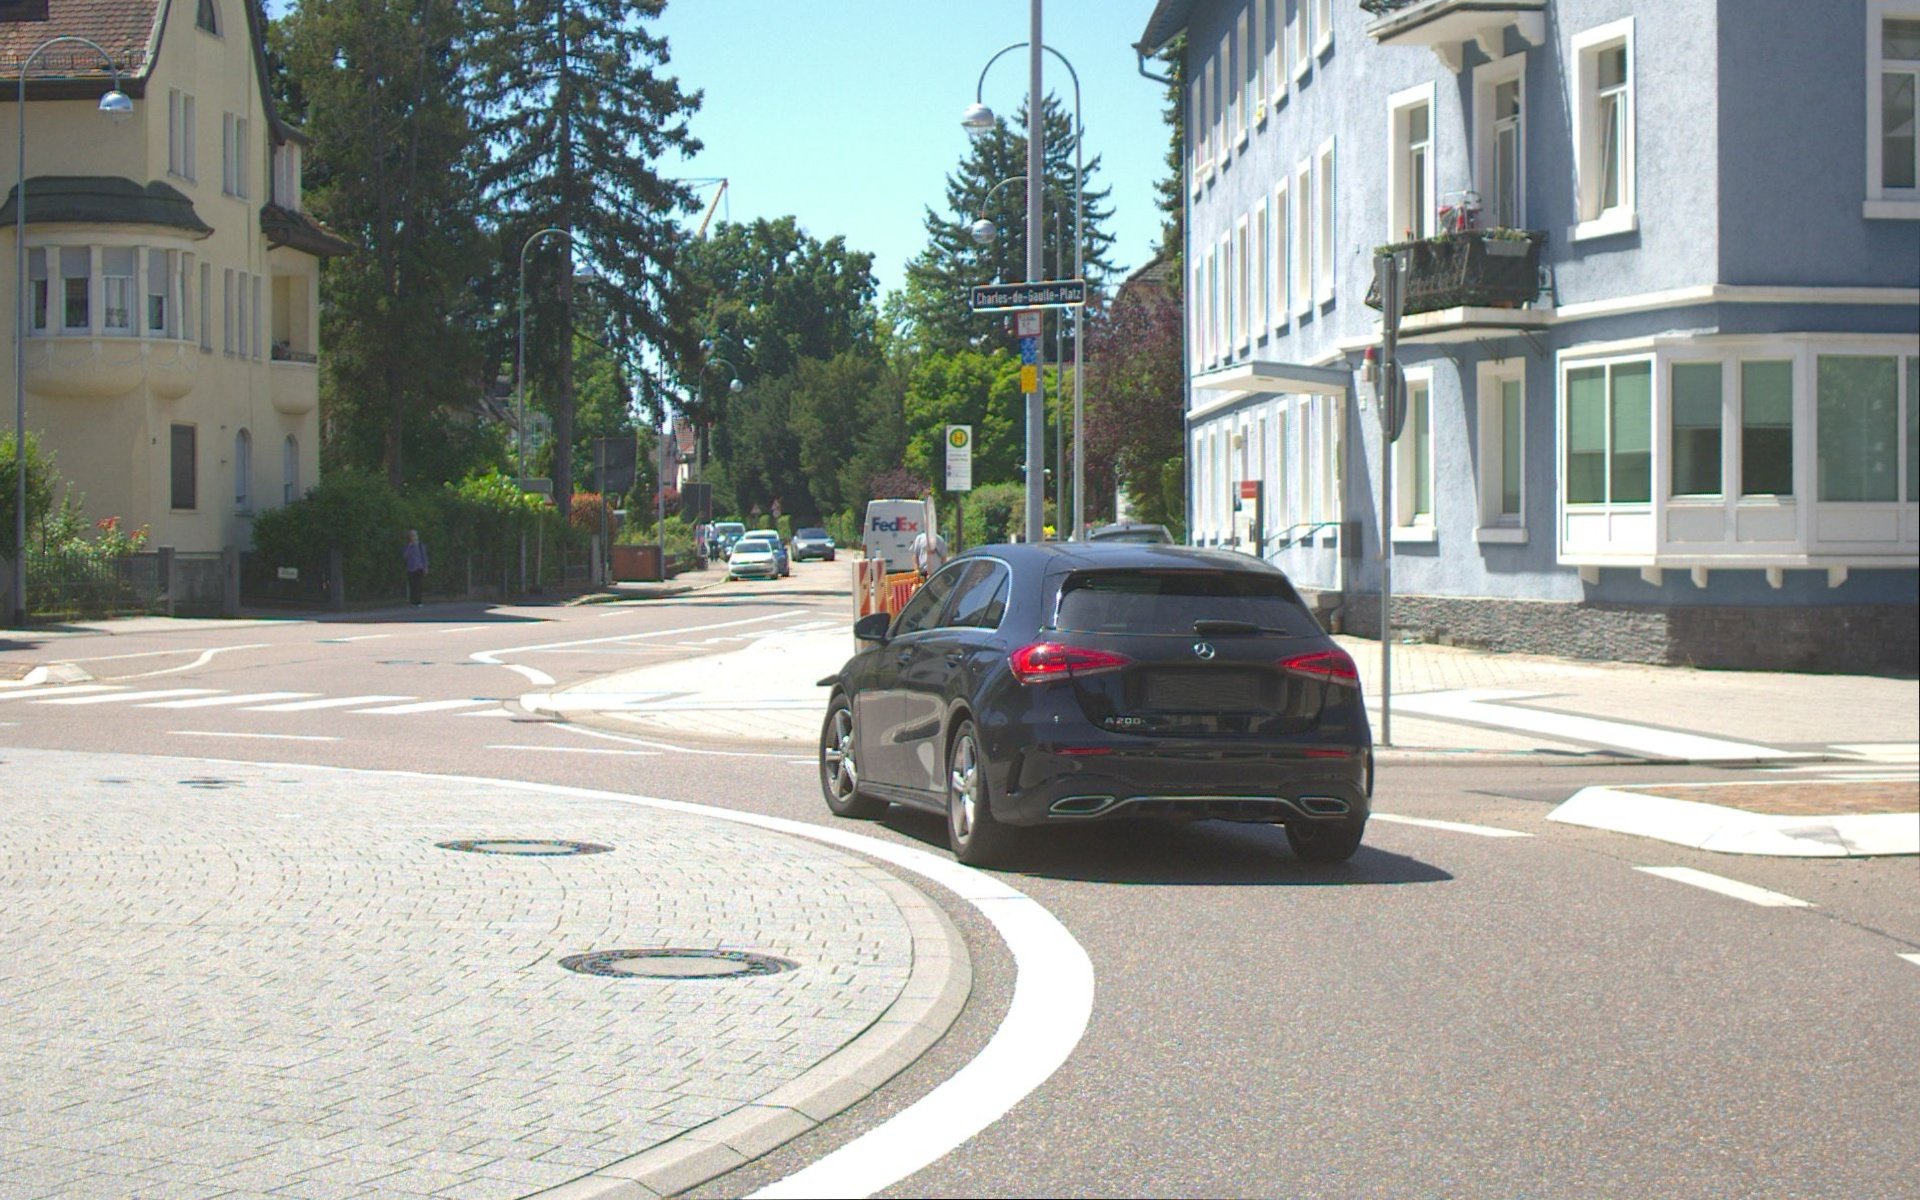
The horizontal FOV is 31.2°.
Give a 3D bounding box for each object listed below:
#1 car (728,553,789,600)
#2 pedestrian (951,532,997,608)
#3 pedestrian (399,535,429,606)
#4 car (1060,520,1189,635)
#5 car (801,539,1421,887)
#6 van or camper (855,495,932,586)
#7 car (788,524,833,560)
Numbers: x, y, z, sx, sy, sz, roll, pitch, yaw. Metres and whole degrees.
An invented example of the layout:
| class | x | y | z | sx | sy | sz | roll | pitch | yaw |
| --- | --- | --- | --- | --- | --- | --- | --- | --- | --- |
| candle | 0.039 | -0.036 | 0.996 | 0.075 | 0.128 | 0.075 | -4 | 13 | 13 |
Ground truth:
| class | x | y | z | sx | sy | sz | roll | pitch | yaw |
| --- | --- | --- | --- | --- | --- | --- | --- | --- | --- |
| car | -7.227 | -0.845 | 123.401 | 1.993 | 1.645 | 4.000 | 1 | 1 | -1 |
| pedestrian | 0.248 | -0.527 | 60.398 | 0.666 | 1.281 | 0.587 | -3 | 1 | 8 |
| pedestrian | -11.557 | -0.627 | 72.763 | 0.523 | 1.504 | 0.473 | 0 | 1 | 6 |
| car | 2.341 | -0.351 | 49.563 | 1.640 | 1.502 | 3.564 | -3 | 2 | 0 |
| car | 0.555 | 0.442 | 16.219 | 1.953 | 1.422 | 4.001 | 1 | 1 | -12 |
| van or camper | -1.960 | -1.736 | 100.768 | 2.205 | 2.602 | 4.000 | 1 | 1 | -1 |
| car | -7.292 | -2.810 | 167.669 | 1.993 | 1.711 | 4.000 | 1 | 1 | 0 |
